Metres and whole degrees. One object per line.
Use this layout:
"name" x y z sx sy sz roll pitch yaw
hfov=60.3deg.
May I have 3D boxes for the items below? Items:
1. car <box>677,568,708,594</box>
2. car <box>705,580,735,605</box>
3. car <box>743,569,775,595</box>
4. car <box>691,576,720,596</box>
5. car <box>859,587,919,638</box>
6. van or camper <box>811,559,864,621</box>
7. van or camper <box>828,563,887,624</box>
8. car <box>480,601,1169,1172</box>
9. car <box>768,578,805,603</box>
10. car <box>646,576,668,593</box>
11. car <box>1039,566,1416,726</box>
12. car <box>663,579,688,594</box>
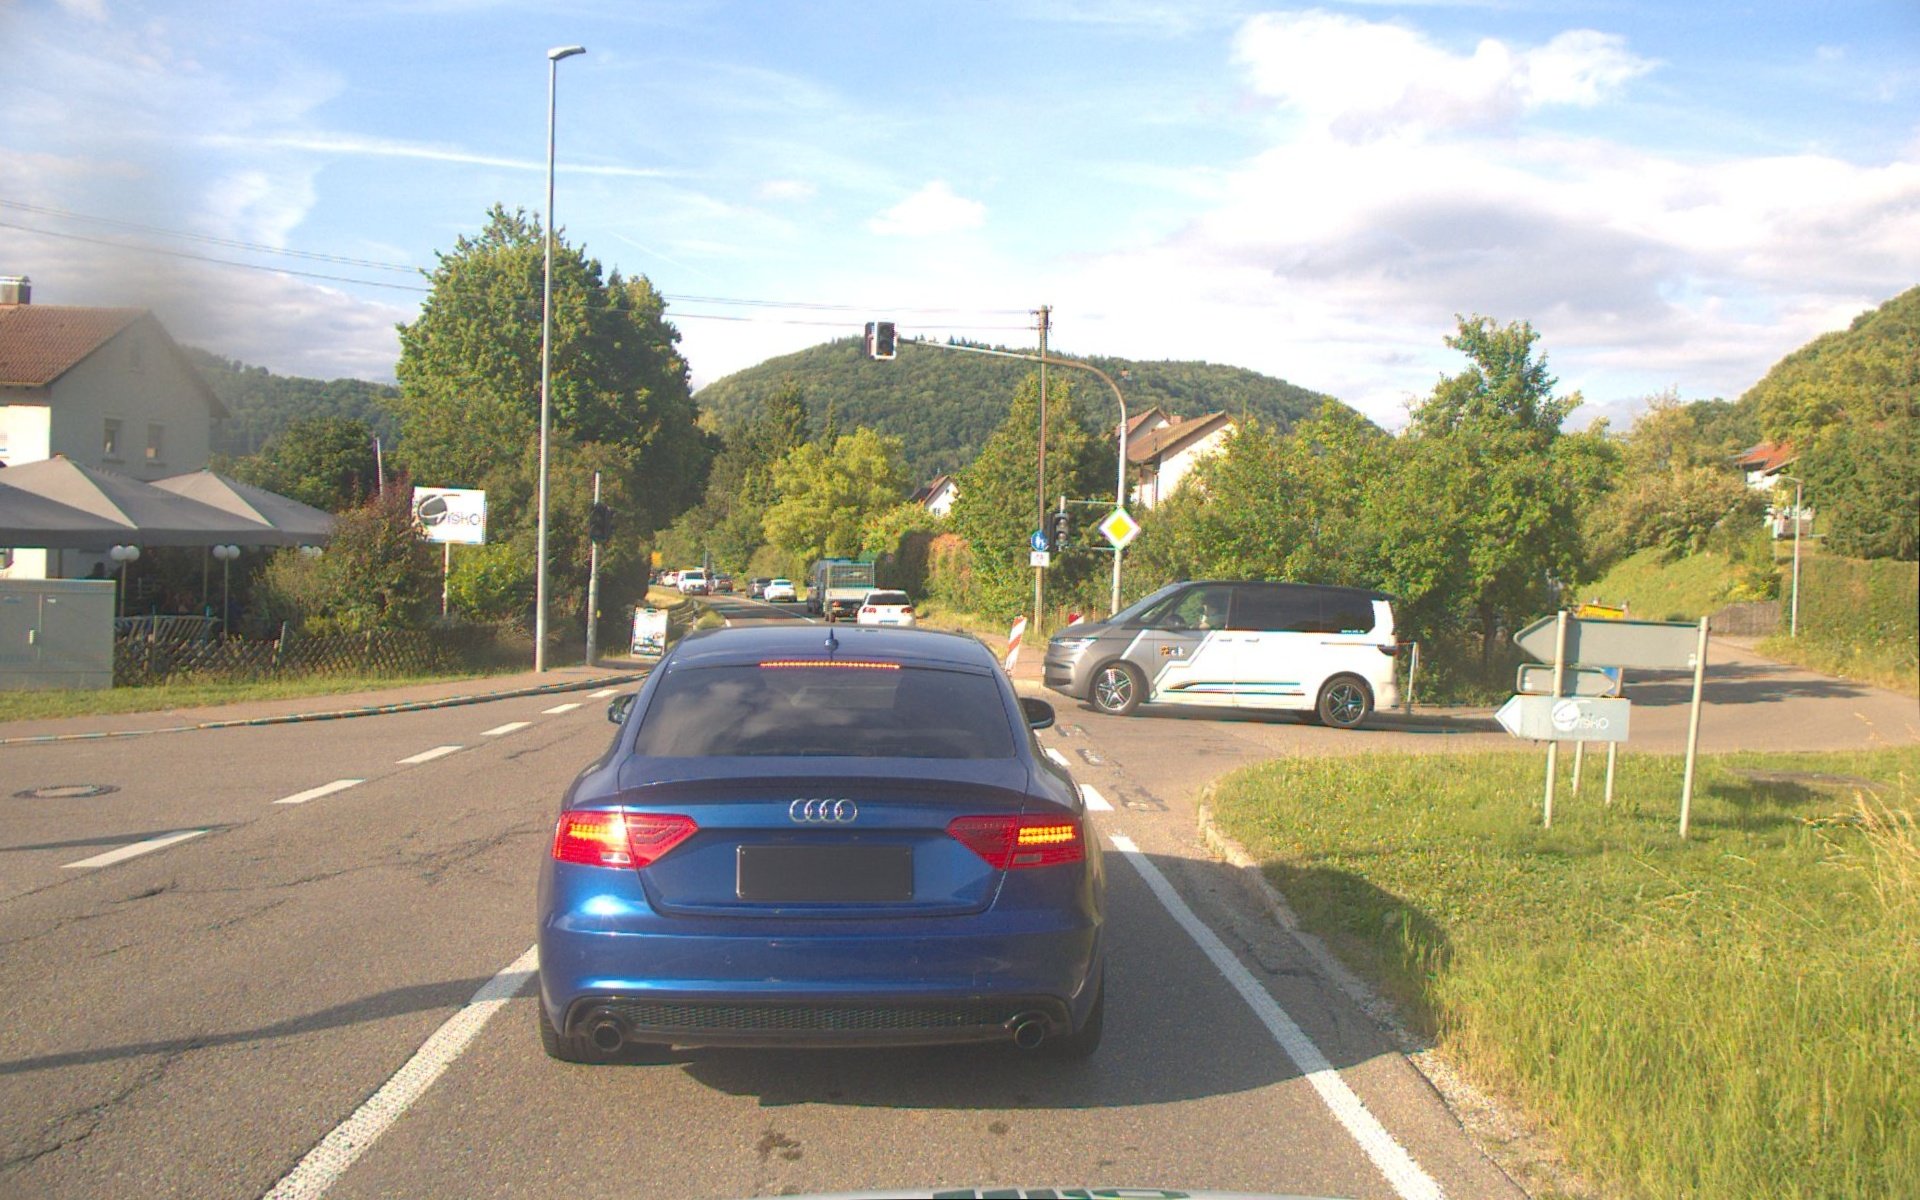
"car" -20.576 -1.476 127.190 1.960 1.937 5.234 -1 1 -14
"car" -20.160 -0.662 138.967 1.961 2.049 3.982 0 1 -16
"car" -14.243 -1.283 117.245 1.766 1.825 3.985 0 1 -15
"car" -22.787 -1.283 147.944 2.008 1.713 3.982 0 1 -16
"car" -2.180 0.350 50.947 1.736 1.439 4.172 2 0 -2
"van or camper" -6.154 -0.520 82.568 2.369 2.955 6.123 0 1 -7
"van or camper" -4.316 -0.280 68.767 2.138 2.426 5.362 0 1 -7
"car" -0.433 0.745 6.449 1.793 1.433 4.224 0 0 -2
"car" -11.153 -0.614 106.031 1.789 1.579 3.984 0 1 -15
"car" -32.476 -1.655 177.156 1.745 1.814 3.979 0 1 -18
"car" 3.597 0.595 22.873 4.759 1.909 1.999 3 1 -4
"car" -28.351 -1.394 164.857 1.912 1.449 3.979 0 1 -18
